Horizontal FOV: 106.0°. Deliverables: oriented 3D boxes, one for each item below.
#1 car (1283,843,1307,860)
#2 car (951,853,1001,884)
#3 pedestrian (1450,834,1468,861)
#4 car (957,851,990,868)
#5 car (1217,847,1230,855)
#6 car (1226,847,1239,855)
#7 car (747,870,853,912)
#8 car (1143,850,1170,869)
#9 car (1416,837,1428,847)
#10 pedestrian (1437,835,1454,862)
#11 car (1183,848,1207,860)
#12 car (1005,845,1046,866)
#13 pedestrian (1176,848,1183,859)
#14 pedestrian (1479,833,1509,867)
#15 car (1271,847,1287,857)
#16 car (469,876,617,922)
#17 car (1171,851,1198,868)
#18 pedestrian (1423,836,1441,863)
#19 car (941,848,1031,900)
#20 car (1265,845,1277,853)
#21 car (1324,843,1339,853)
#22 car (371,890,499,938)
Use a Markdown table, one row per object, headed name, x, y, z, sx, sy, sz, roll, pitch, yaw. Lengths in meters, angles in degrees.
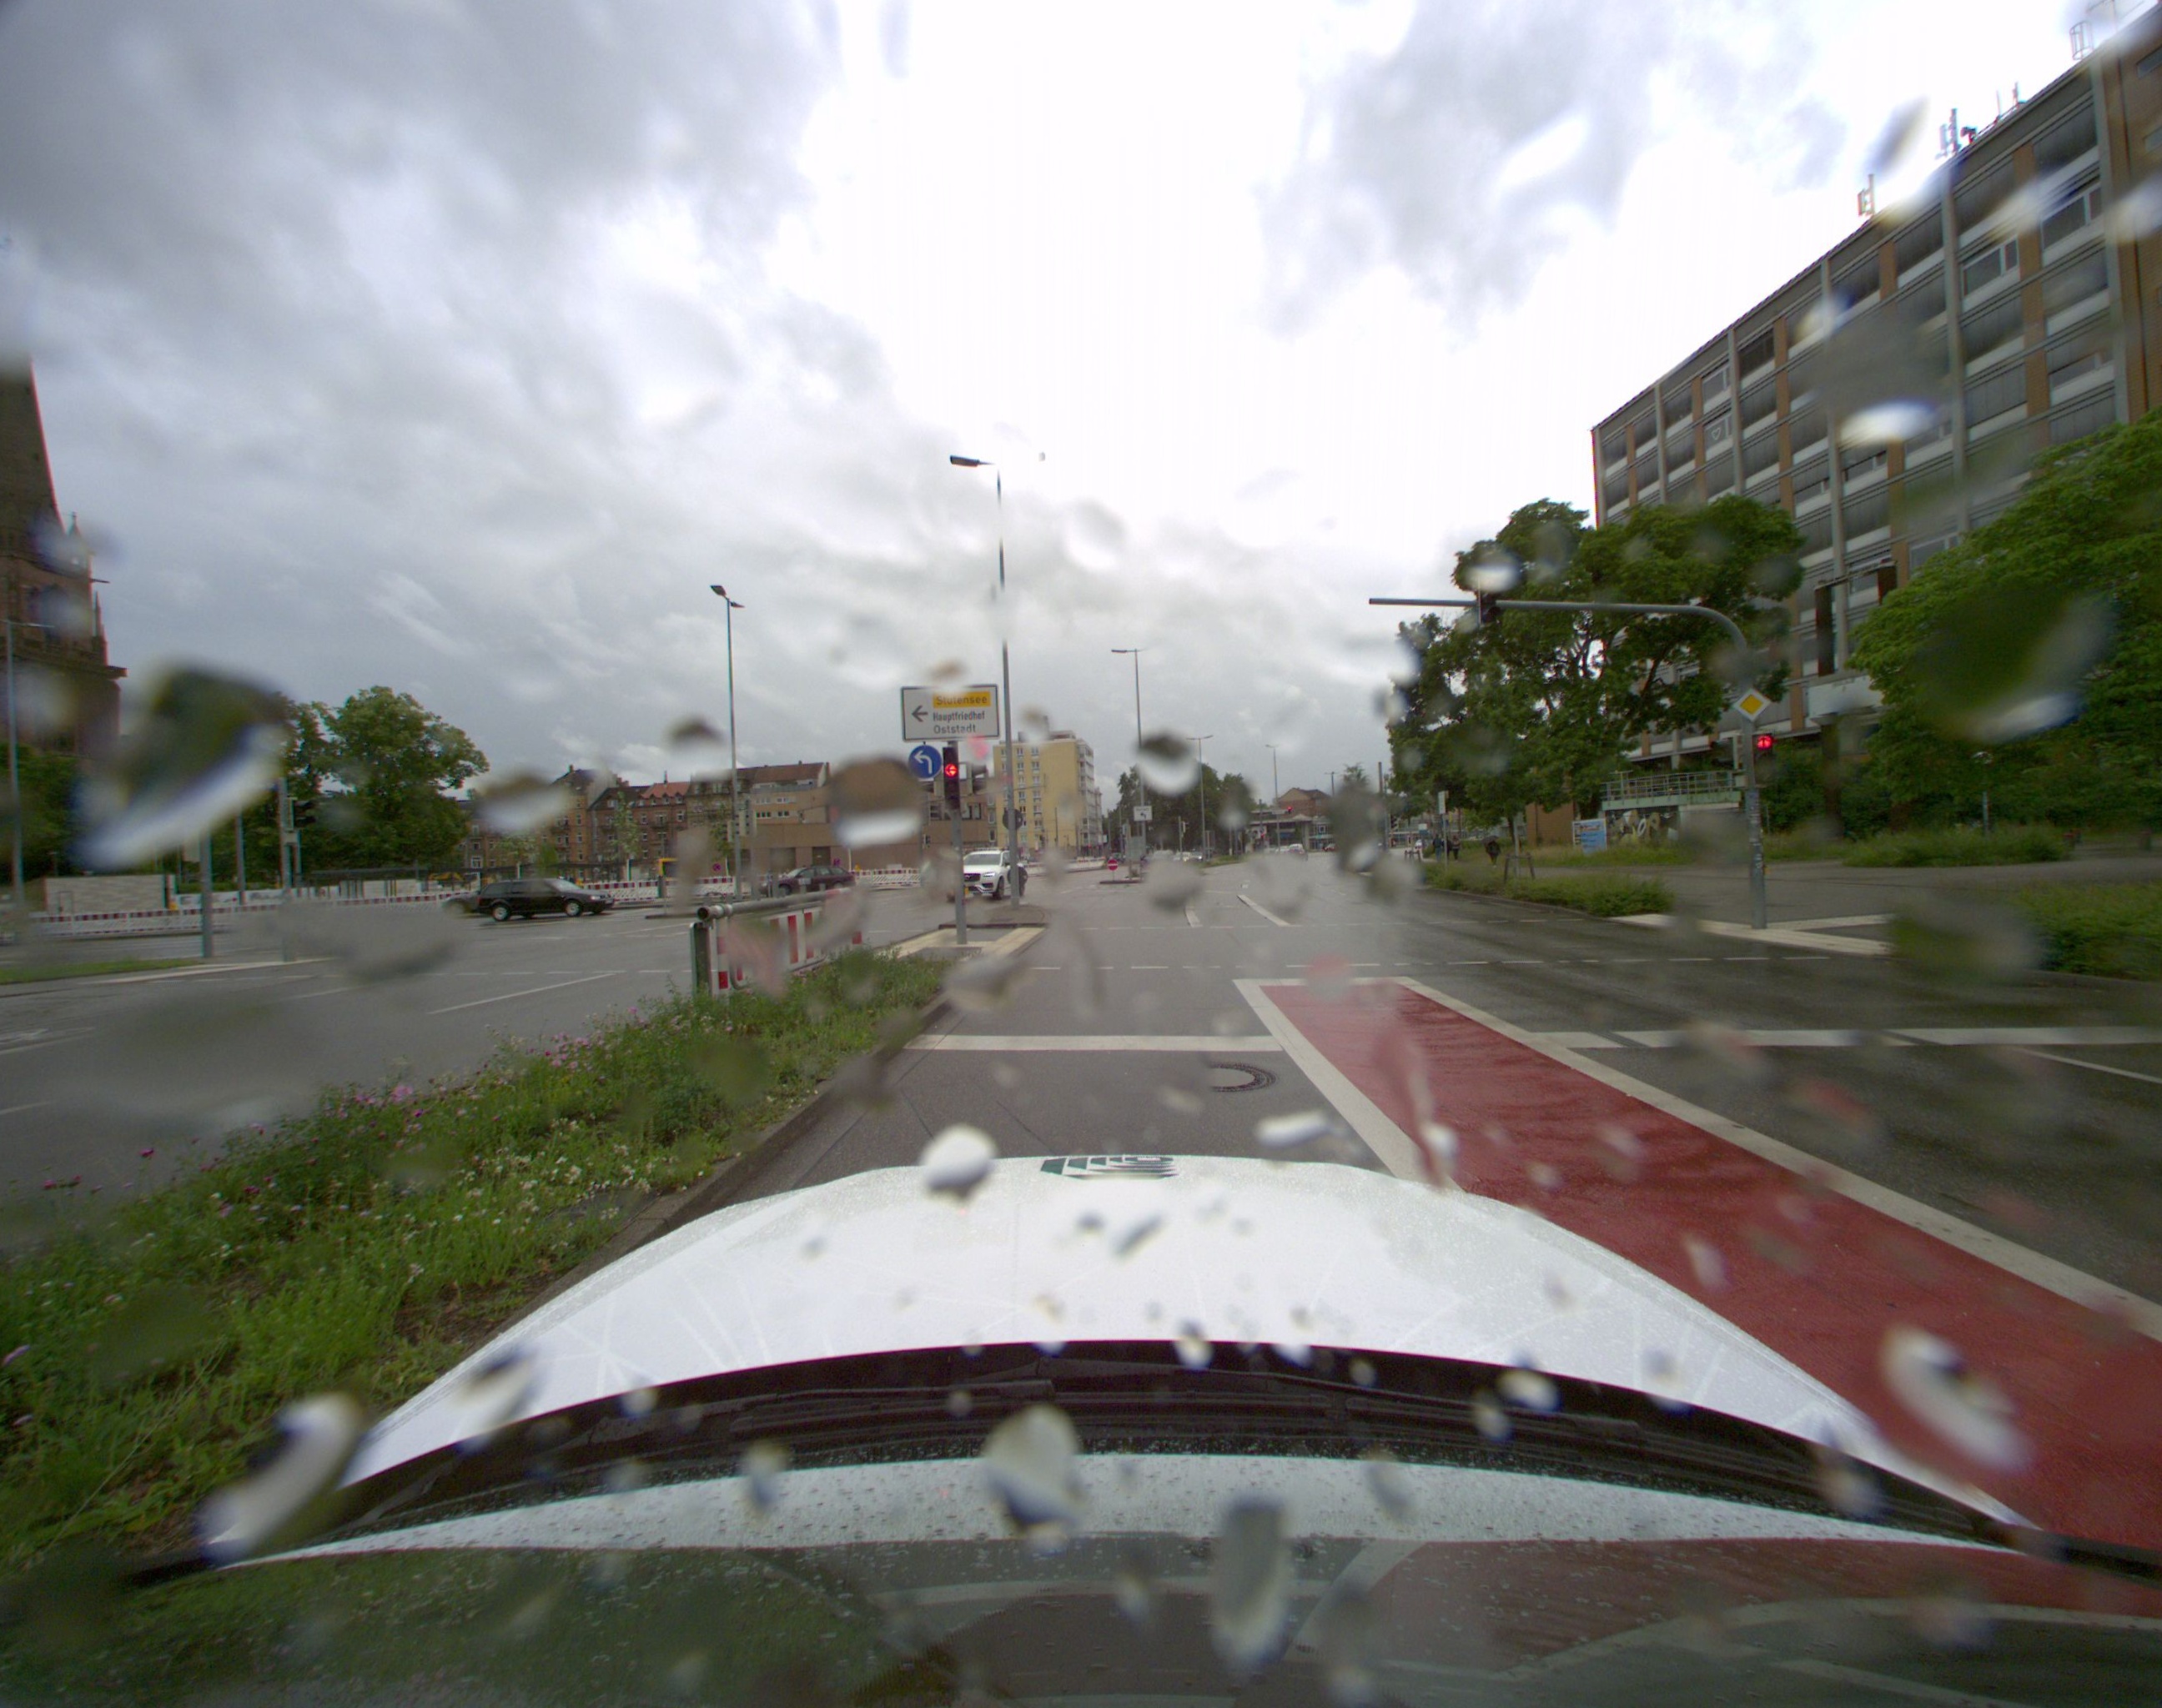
| name | x | y | z | sx | sy | sz | roll | pitch | yaw |
| --- | --- | --- | --- | --- | --- | --- | --- | --- | --- |
| car | 23.176 | -0.290 | 88.157 | 1.774 | 1.643 | 4.183 | -2 | 0 | 24 |
| car | -6.410 | 0.853 | 50.186 | 1.694 | 1.706 | 4.166 | -2 | 0 | 11 |
| pedestrian | 22.637 | -0.368 | 48.784 | 0.698 | 1.588 | 0.940 | -2 | 0 | 13 |
| car | -19.097 | 0.960 | 145.093 | 5.325 | 2.887 | 2.342 | -3 | 0 | 5 |
| car | 33.552 | -0.666 | 191.906 | 1.773 | 1.643 | 4.184 | -2 | 0 | 26 |
| car | 35.570 | -0.758 | 191.004 | 1.773 | 1.643 | 4.184 | -2 | 0 | 26 |
| car | -13.560 | 1.762 | 39.428 | 4.483 | 1.706 | 1.691 | -3 | 0 | -39 |
| car | 7.865 | 0.549 | 84.480 | 1.679 | 1.690 | 4.205 | -3 | 2 | 20 |
| car | 58.952 | -2.143 | 140.671 | 1.774 | 1.643 | 4.183 | -2 | 0 | 24 |
| pedestrian | 21.819 | -0.328 | 48.698 | 0.698 | 1.588 | 0.940 | -2 | 0 | 13 |
| car | 13.453 | 0.008 | 95.766 | 1.756 | 1.376 | 4.144 | -1 | 0 | 24 |
| car | -9.818 | 0.231 | 144.114 | 6.709 | 3.380 | 2.813 | -3 | 0 | 5 |
| pedestrian | 17.546 | -0.115 | 145.003 | 1.089 | 1.813 | 1.118 | -3 | 0 | -2 |
| pedestrian | 19.894 | -0.195 | 39.243 | 1.015 | 1.588 | 0.940 | -2 | 0 | 12 |
| car | 35.643 | -0.282 | 146.712 | 1.773 | 1.643 | 4.424 | -2 | 0 | 28 |
| car | -19.512 | 1.612 | 29.663 | 4.183 | 1.402 | 1.615 | -2 | 0 | -4 |
| car | 10.441 | 0.561 | 82.115 | 1.679 | 1.415 | 4.205 | -3 | 2 | 20 |
| pedestrian | 21.075 | -0.290 | 48.944 | 0.748 | 1.588 | 0.940 | -2 | 0 | 13 |
| car | -3.362 | 0.661 | 29.997 | 1.815 | 1.682 | 5.180 | -2 | 0 | 10 |
| car | 43.648 | -1.144 | 187.222 | 1.773 | 1.643 | 4.184 | -2 | 0 | 26 |
| car | 44.790 | -1.143 | 145.636 | 1.773 | 1.643 | 4.071 | -2 | 0 | 27 |
| car | -26.924 | 2.489 | 34.046 | 3.802 | 1.706 | 1.708 | -2 | 0 | -5 |
